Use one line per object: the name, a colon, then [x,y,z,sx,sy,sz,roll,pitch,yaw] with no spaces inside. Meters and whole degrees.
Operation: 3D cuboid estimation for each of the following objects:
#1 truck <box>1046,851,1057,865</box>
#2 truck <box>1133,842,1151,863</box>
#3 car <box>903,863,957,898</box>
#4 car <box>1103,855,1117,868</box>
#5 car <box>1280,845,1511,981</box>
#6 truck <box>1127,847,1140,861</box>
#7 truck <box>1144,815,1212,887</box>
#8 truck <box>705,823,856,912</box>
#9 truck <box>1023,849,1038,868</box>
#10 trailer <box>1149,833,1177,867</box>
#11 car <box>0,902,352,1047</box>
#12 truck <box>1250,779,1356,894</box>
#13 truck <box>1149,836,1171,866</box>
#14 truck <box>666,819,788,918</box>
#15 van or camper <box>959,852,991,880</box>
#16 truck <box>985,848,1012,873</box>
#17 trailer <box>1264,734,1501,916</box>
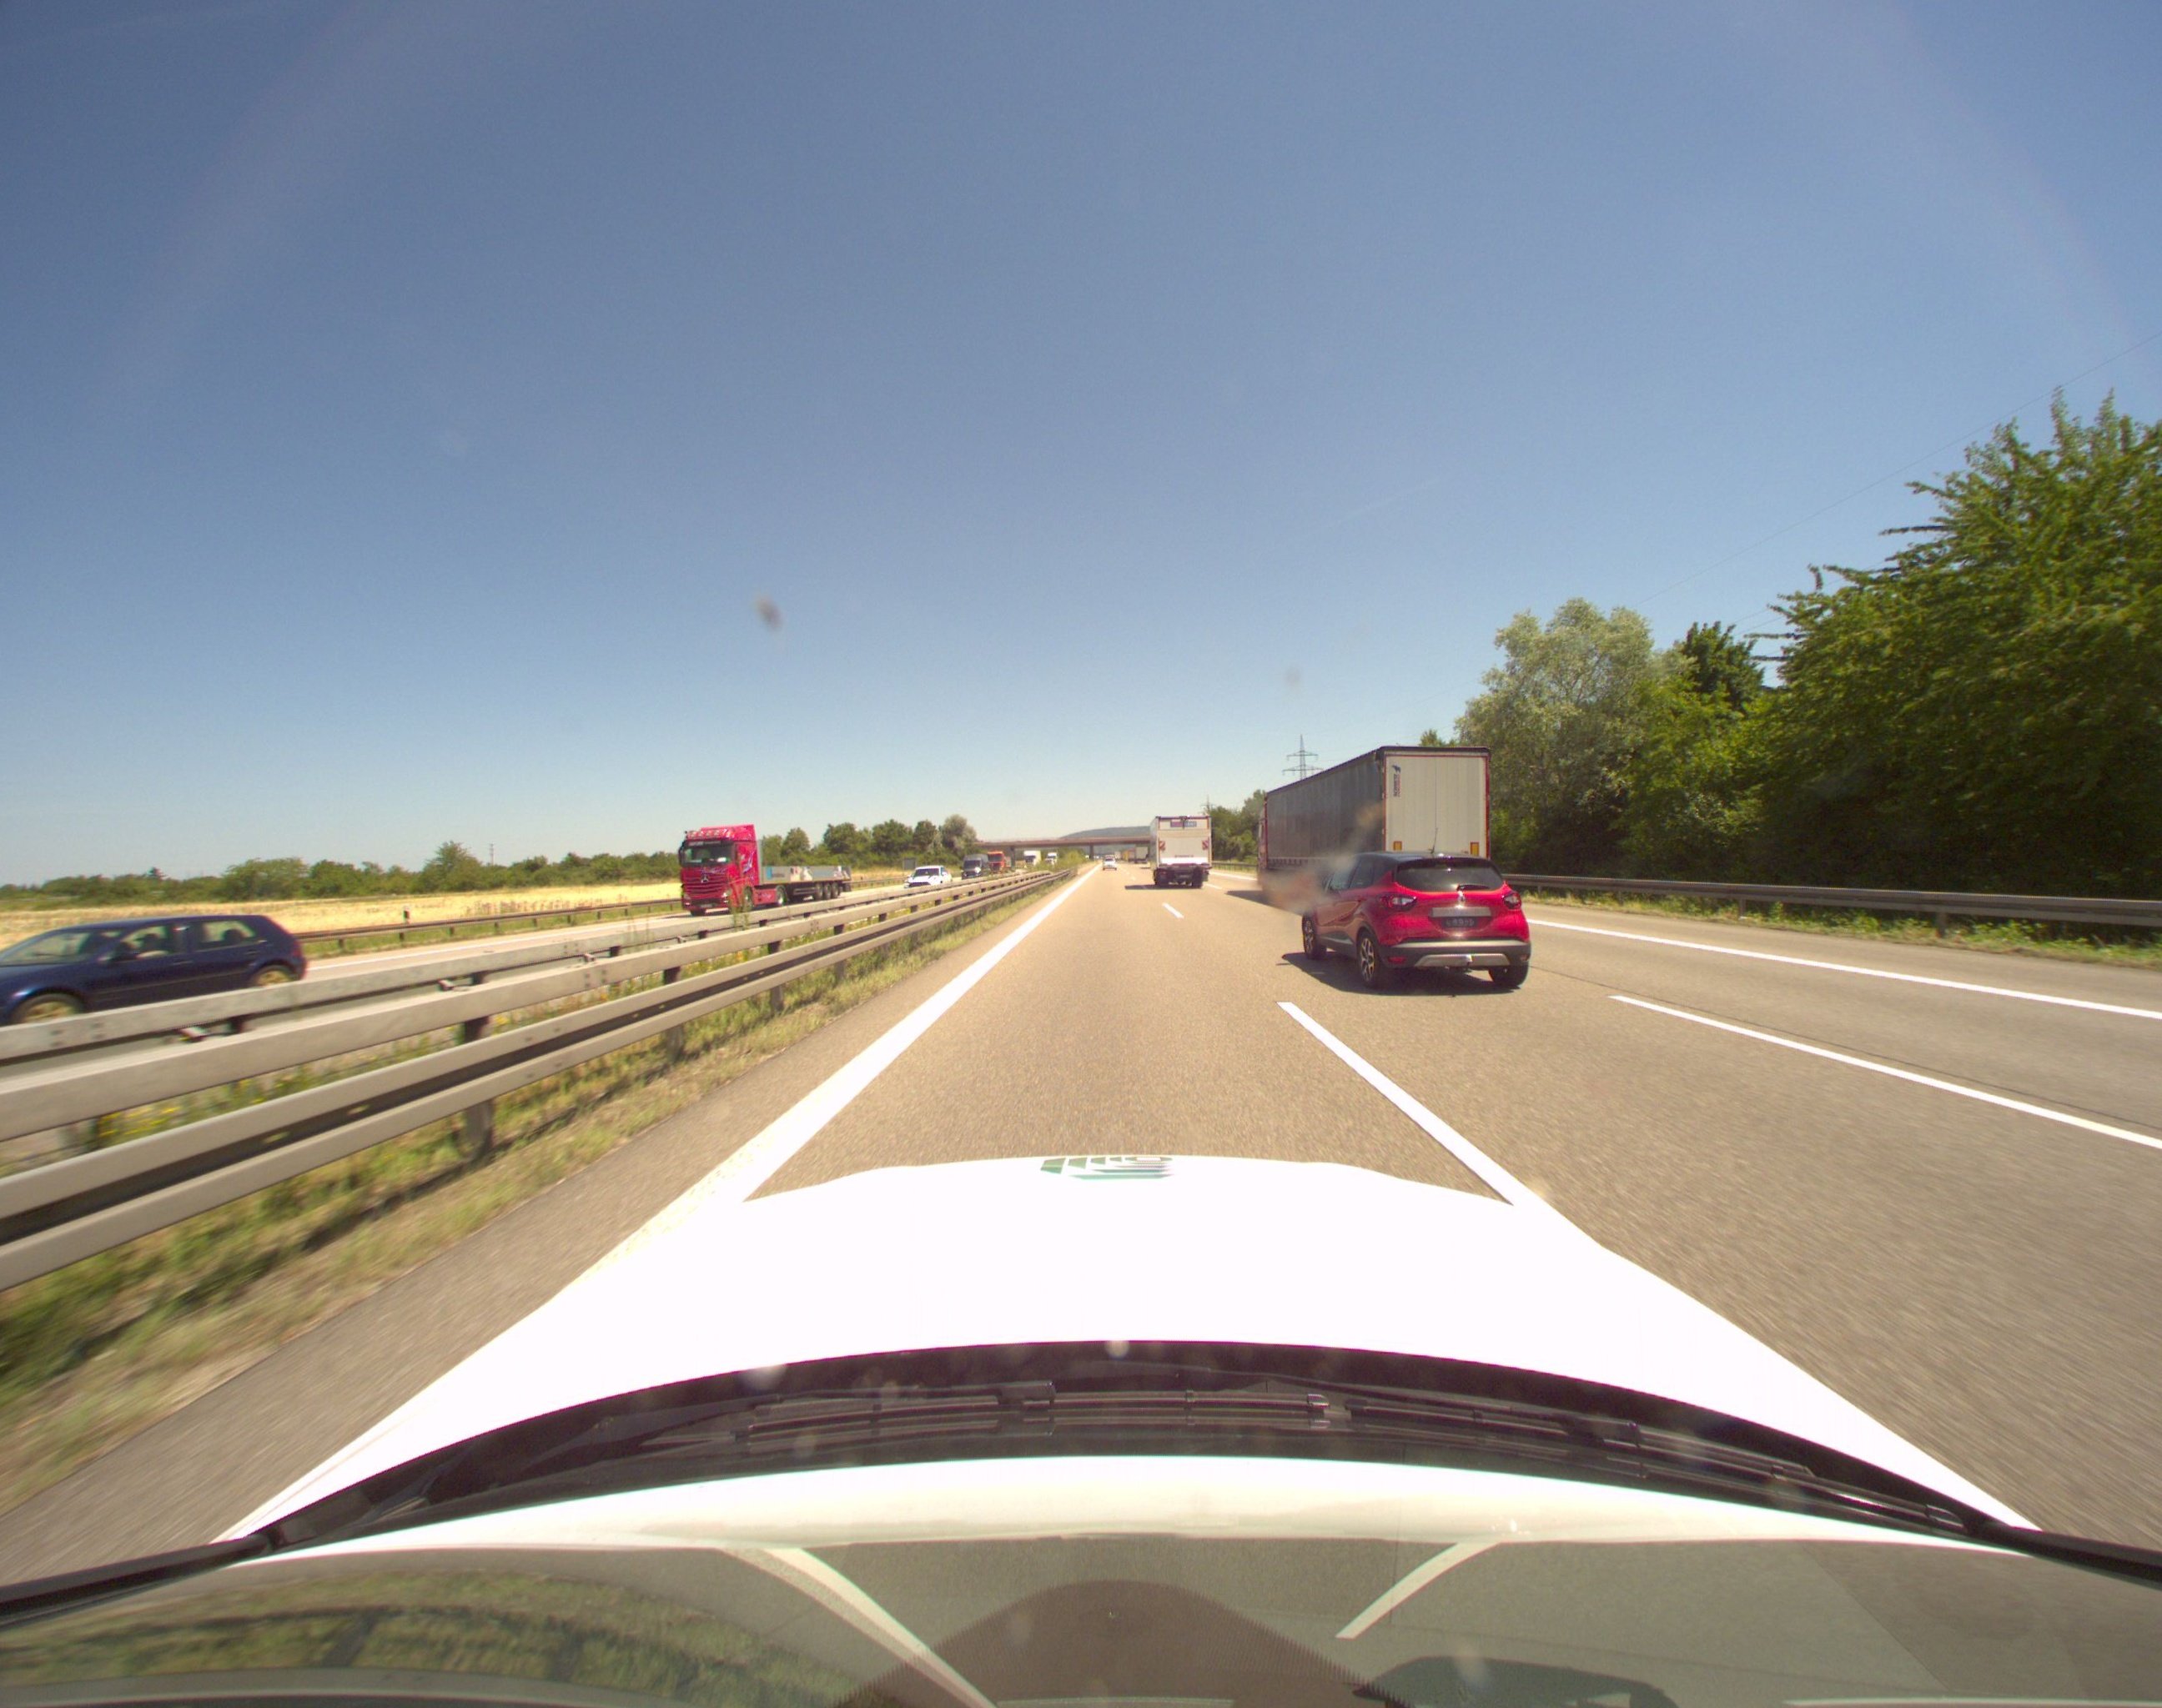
truck: [-9.030,1.286,249.219,2.824,3.938,5.826,-4,0,2]
truck: [14.008,-0.345,188.362,3.507,4.416,14.597,-3,0,2]
car: [-7.709,1.308,41.807,1.797,1.568,4.097,-3,0,2]
car: [3.500,0.956,98.957,1.601,1.467,4.003,-2,0,3]
car: [4.142,0.691,11.470,1.796,1.545,4.002,-1,0,2]
truck: [16.713,0.020,260.038,3.507,4.416,14.597,-3,0,2]
truck: [4.912,-0.127,42.537,2.772,3.373,8.130,-1,0,2]
truck: [-15.957,0.632,44.929,2.751,4.014,13.526,-4,0,1]
truck: [-11.080,1.019,179.741,2.670,4.014,5.757,-3,0,1]
trailer: [11.038,-0.489,110.697,2.784,4.164,13.963,-1,0,2]
car: [-12.859,1.562,11.473,1.727,1.451,3.679,-4,0,2]
truck: [8.713,-0.637,32.637,2.784,4.164,5.725,-1,0,2]
truck: [11.332,-0.475,117.678,2.784,4.164,5.725,-1,0,2]
truck: [-16.135,0.628,37.595,2.751,4.014,5.752,-4,0,1]
van or camper: [-10.551,1.176,81.503,2.163,2.588,5.874,-4,-1,1]
truck: [-12.817,0.998,128.008,2.642,3.661,10.193,-4,0,2]
trailer: [8.477,-0.653,25.601,2.778,4.164,13.579,-1,0,2]
